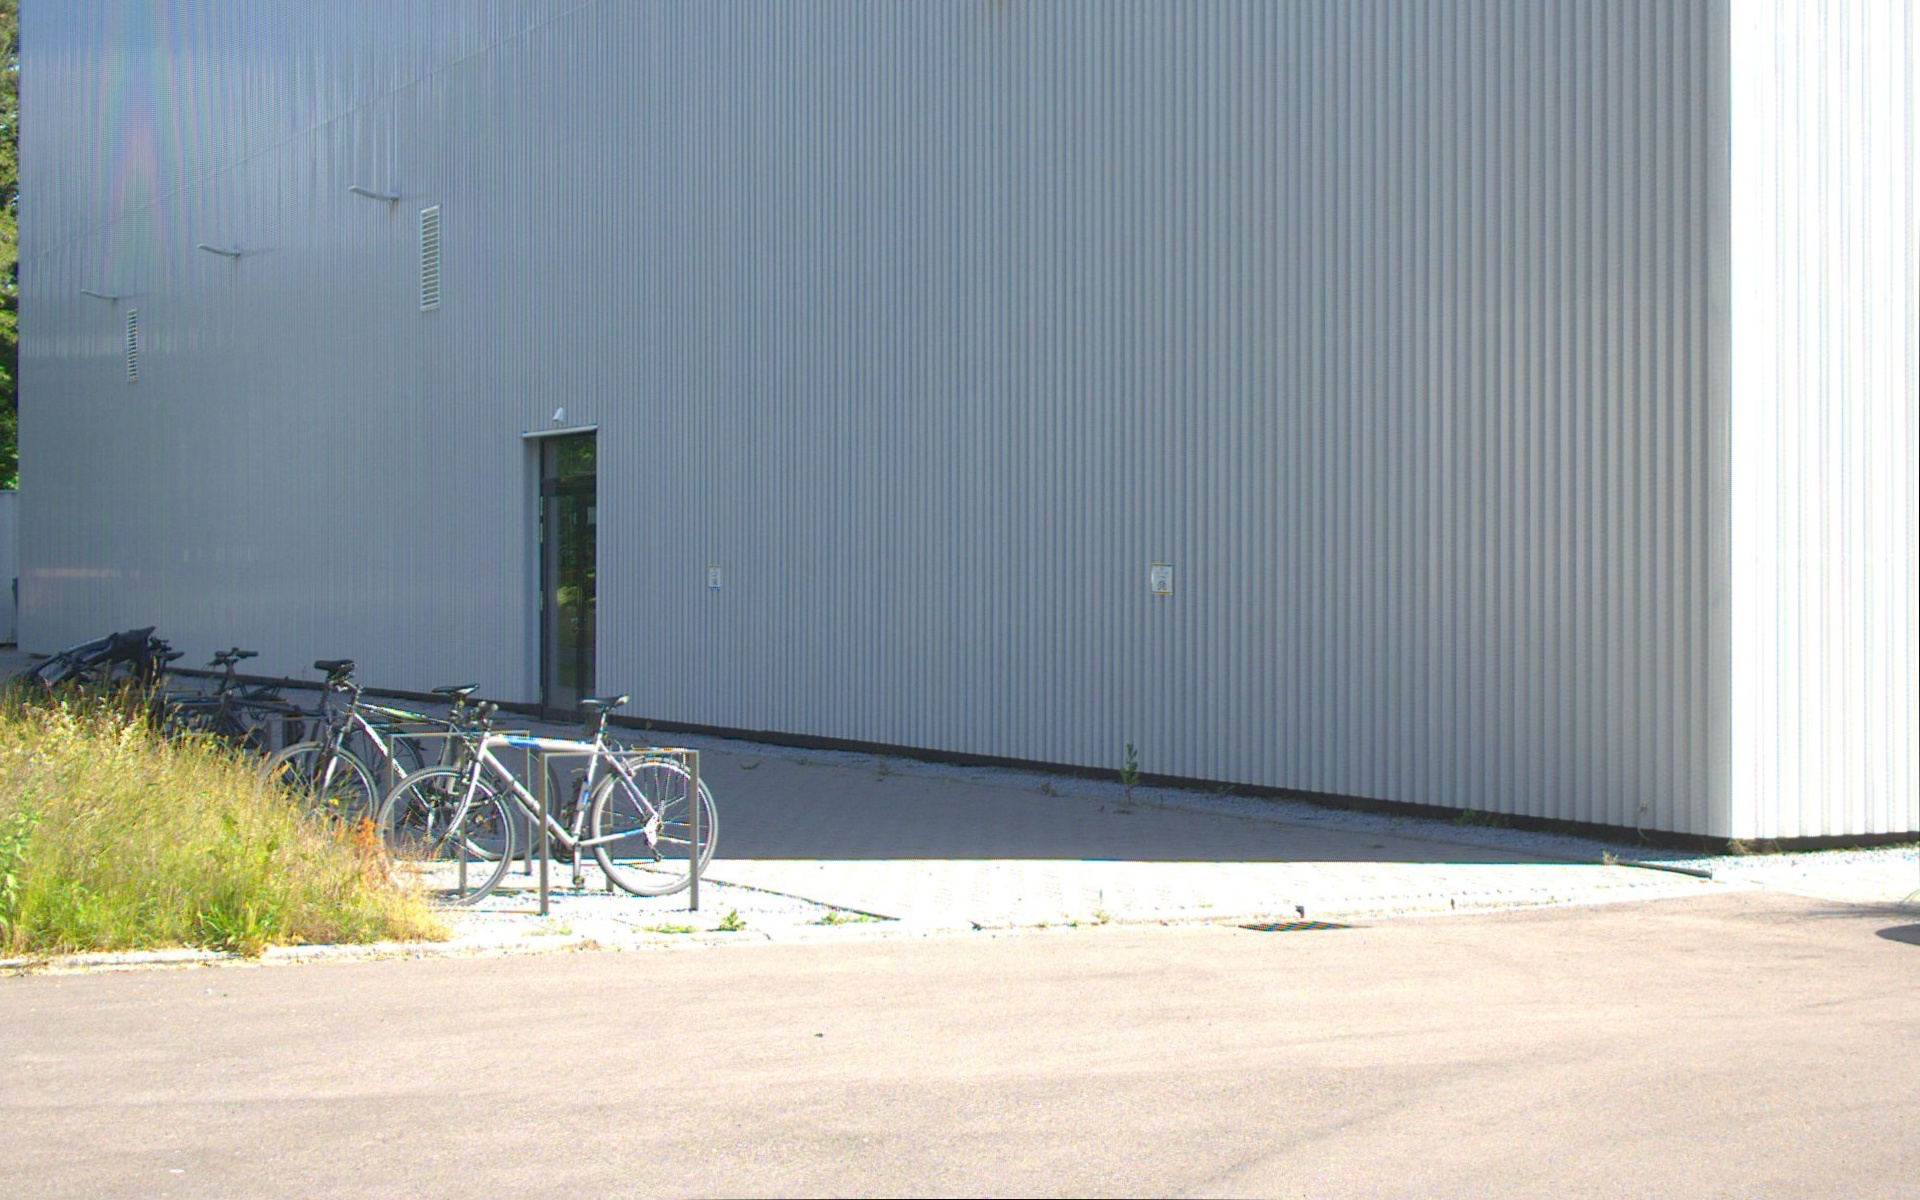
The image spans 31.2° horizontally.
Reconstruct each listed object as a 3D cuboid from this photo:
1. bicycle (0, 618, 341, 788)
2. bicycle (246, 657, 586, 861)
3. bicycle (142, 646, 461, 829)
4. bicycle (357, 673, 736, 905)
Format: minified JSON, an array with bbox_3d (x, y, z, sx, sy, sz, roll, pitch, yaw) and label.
[{"bbox_3d":[-6.230,0.774,26.701,2.629,1.262,1.141,0,0,-21],"label":"bicycle"},{"bbox_3d":[-3.028,0.869,19.168,1.791,1.079,0.525,0,0,-24],"label":"bicycle"},{"bbox_3d":[-4.106,0.841,21.484,1.887,1.091,0.526,0,0,-27],"label":"bicycle"},{"bbox_3d":[-2.008,0.903,16.806,1.799,1.058,0.459,0,0,-30],"label":"bicycle"}]
